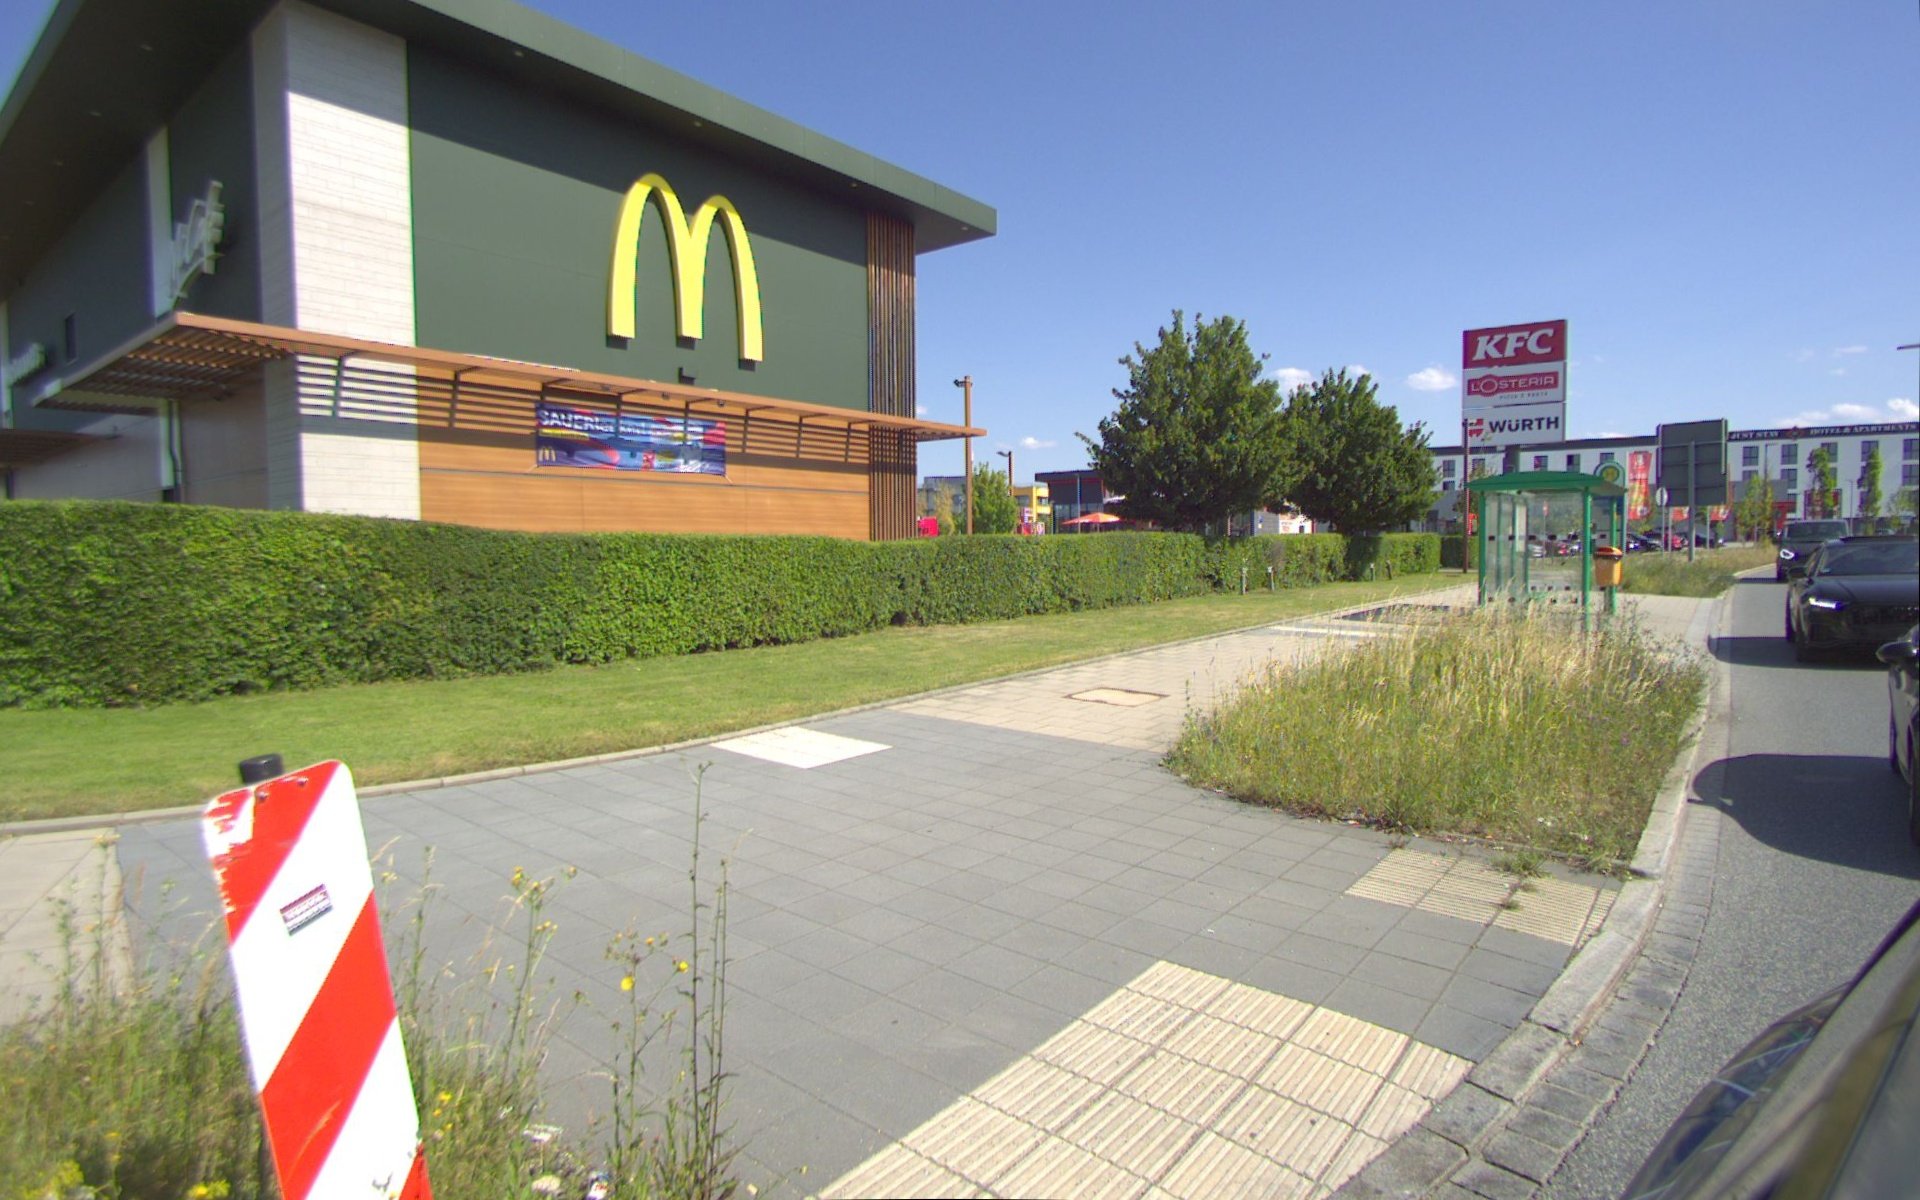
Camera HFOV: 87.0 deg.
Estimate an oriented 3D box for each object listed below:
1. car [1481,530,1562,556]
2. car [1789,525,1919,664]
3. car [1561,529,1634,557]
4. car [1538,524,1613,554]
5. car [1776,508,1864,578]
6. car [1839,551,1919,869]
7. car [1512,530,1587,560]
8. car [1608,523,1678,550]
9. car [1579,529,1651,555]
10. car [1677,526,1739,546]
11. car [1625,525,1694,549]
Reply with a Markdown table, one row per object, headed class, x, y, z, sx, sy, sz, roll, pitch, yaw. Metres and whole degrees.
| class | x | y | z | sx | sy | sz | roll | pitch | yaw |
| --- | --- | --- | --- | --- | --- | --- | --- | --- | --- |
| car | 37.902 | -3.851 | 68.363 | 1.902 | 1.672 | 4.433 | -3 | 4 | -44 |
| car | 12.946 | -0.169 | 14.229 | 1.855 | 1.709 | 3.943 | -2 | 2 | 41 |
| car | 47.227 | -4.197 | 75.041 | 1.898 | 2.038 | 4.187 | -3 | 3 | -36 |
| car | 44.224 | -4.368 | 72.817 | 1.898 | 2.038 | 4.186 | -3 | 4 | -37 |
| car | 28.544 | -1.907 | 33.599 | 2.072 | 2.073 | 4.616 | -2 | 2 | 41 |
| car | 6.427 | 0.474 | 5.795 | 1.853 | 1.486 | 3.946 | 2 | 3 | 38 |
| car | 41.488 | -3.876 | 71.296 | 1.897 | 2.038 | 4.187 | -3 | 3 | -35 |
| car | 53.408 | -4.950 | 79.172 | 1.899 | 2.038 | 4.185 | -3 | 4 | -38 |
| car | 49.324 | -4.353 | 76.254 | 1.768 | 1.880 | 4.190 | -2 | 3 | -33 |
| car | 61.924 | -5.298 | 83.851 | 1.725 | 1.639 | 3.824 | -3 | 4 | -37 |
| car | 55.867 | -5.015 | 80.869 | 1.789 | 1.783 | 4.190 | -2 | 3 | -33 |
